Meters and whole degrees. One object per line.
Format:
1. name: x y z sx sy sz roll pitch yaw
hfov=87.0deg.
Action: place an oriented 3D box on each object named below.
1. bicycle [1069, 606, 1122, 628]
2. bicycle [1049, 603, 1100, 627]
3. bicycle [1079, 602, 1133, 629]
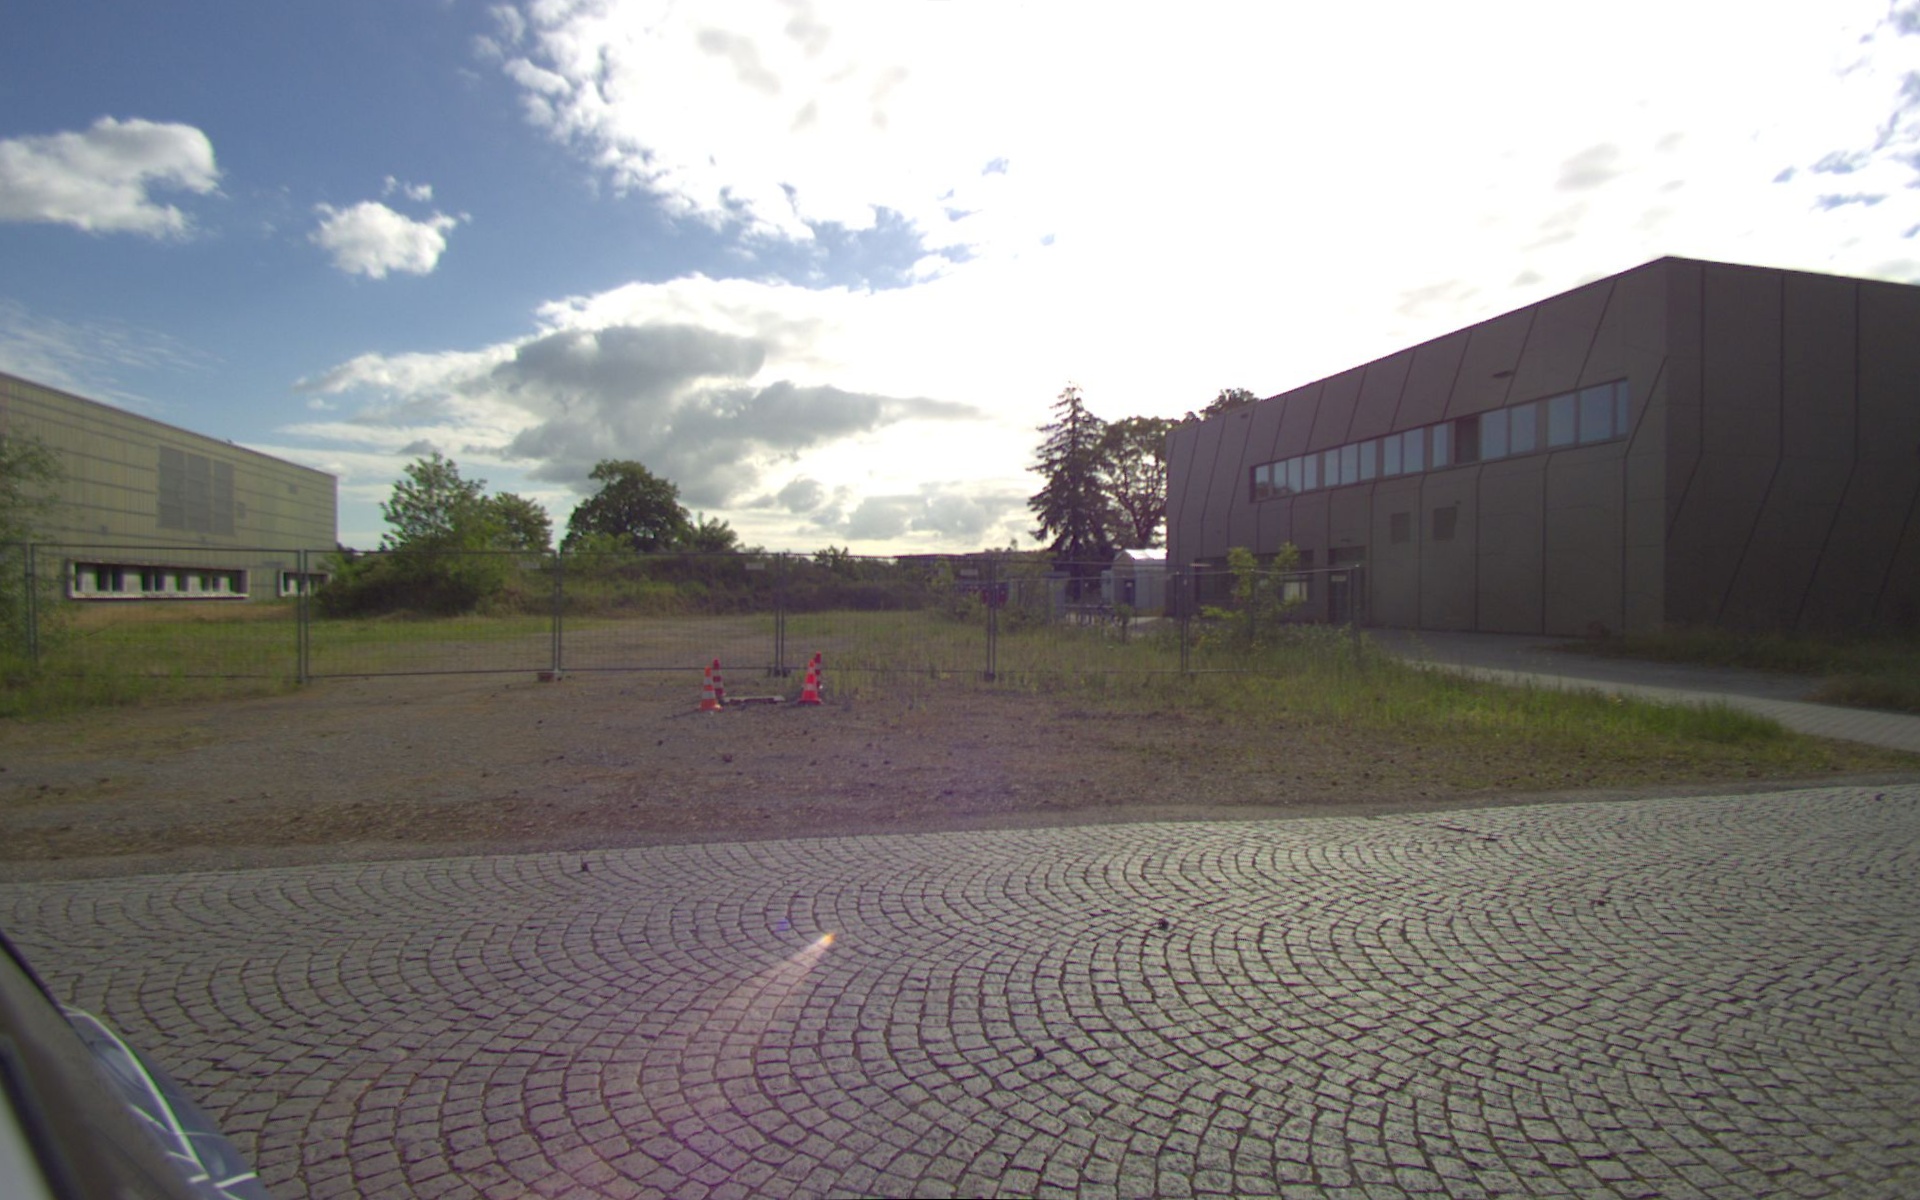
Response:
1. bicycle: 5.826 0.711 43.426 2.034 0.928 0.949 0 0 -15
2. bicycle: 5.139 0.663 45.455 2.034 1.052 0.949 0 0 -15
3. bicycle: 6.076 0.632 42.194 2.034 1.095 0.949 0 0 -15
